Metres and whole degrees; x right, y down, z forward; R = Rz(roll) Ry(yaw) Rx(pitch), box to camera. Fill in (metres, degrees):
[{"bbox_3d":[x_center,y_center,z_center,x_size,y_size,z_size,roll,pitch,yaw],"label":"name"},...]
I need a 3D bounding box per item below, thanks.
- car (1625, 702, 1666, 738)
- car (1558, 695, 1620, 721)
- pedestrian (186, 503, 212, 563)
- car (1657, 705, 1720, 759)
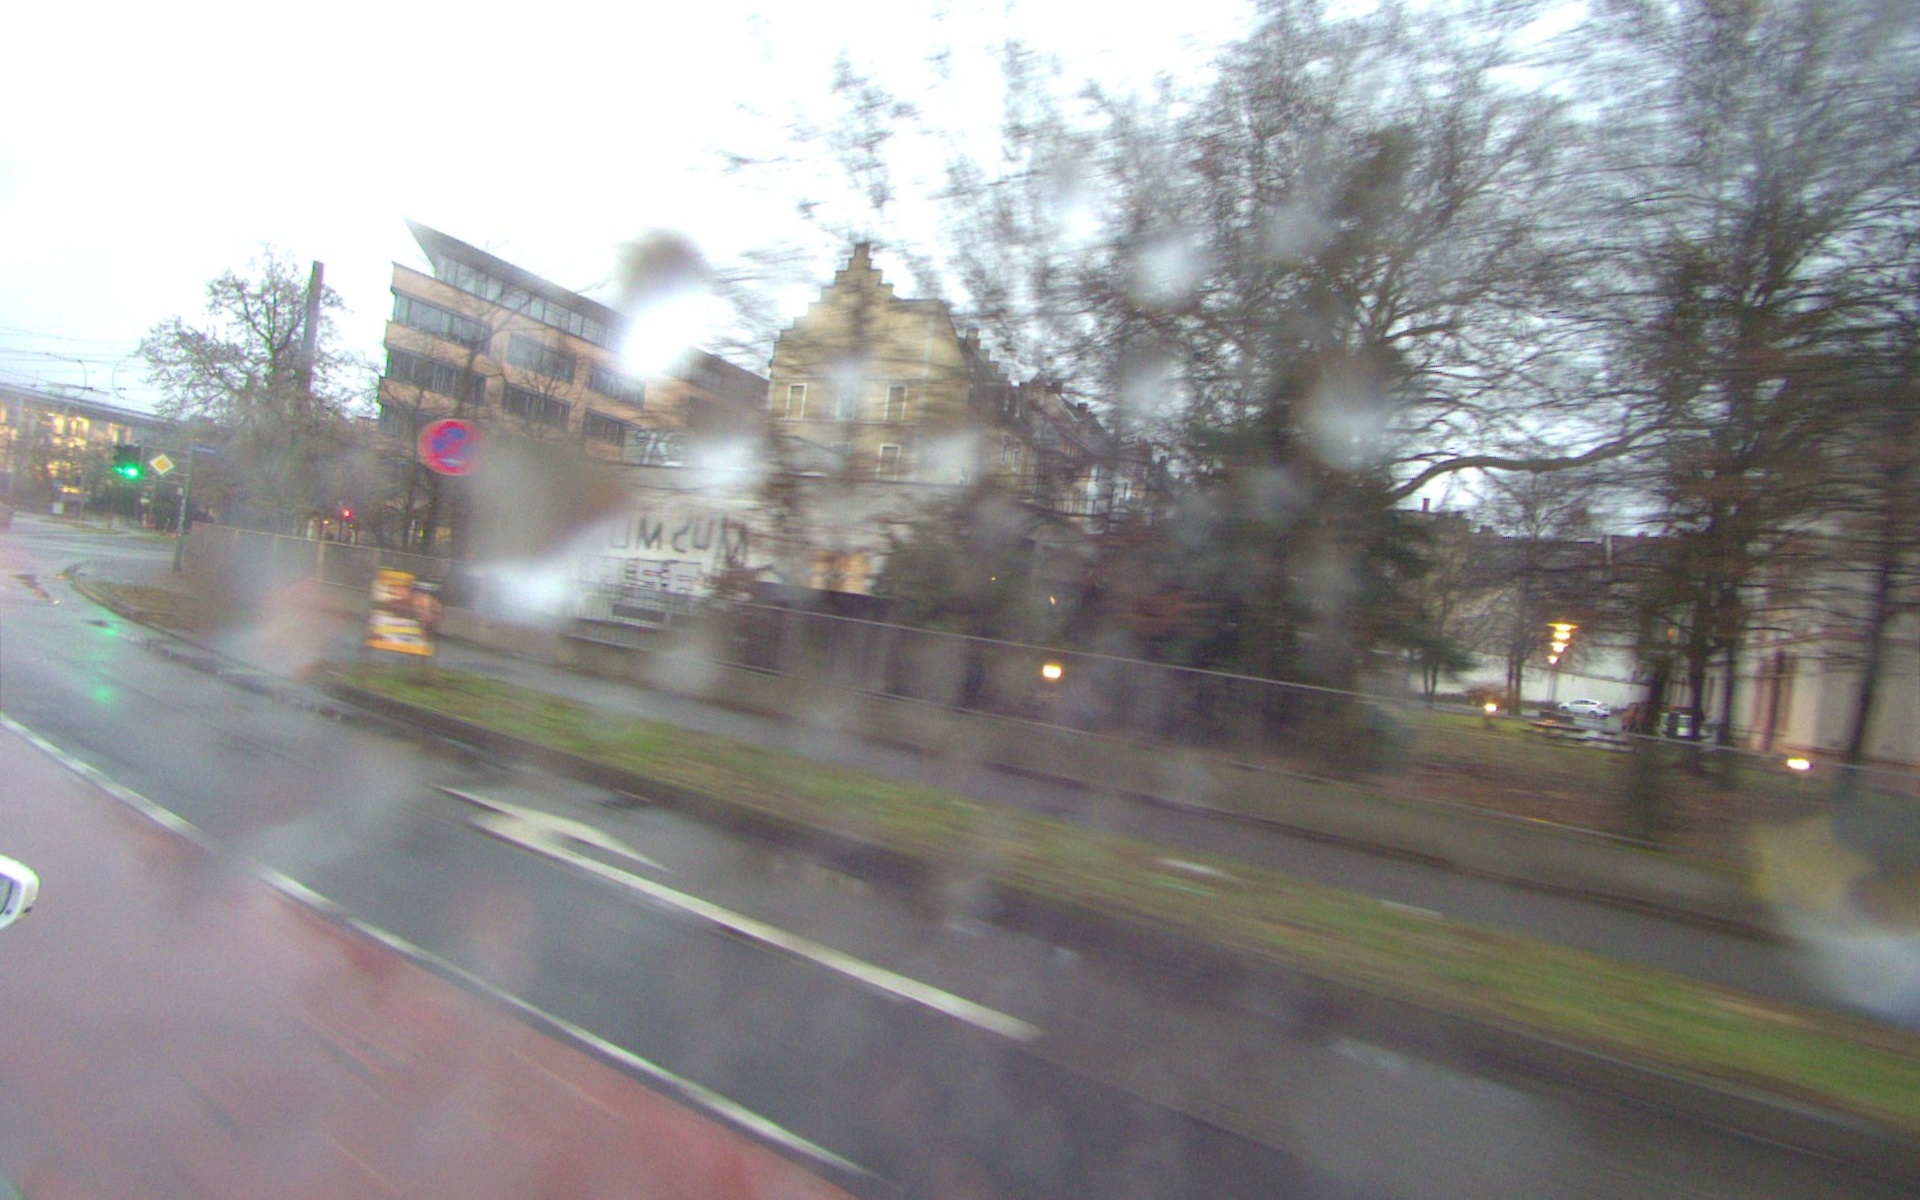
[{"bbox_3d":[42.876,7.542,62.965,1.833,1.941,4.092,6,-3,34],"label":"car"},{"bbox_3d":[53.861,9.242,86.259,1.712,1.661,4.071,9,-2,-28],"label":"car"},{"bbox_3d":[-24.885,-2.191,32.904,0.569,1.863,0.676,4,4,-36],"label":"pedestrian"},{"bbox_3d":[31.193,5.655,43.180,1.833,1.941,4.092,6,-3,34],"label":"car"}]
